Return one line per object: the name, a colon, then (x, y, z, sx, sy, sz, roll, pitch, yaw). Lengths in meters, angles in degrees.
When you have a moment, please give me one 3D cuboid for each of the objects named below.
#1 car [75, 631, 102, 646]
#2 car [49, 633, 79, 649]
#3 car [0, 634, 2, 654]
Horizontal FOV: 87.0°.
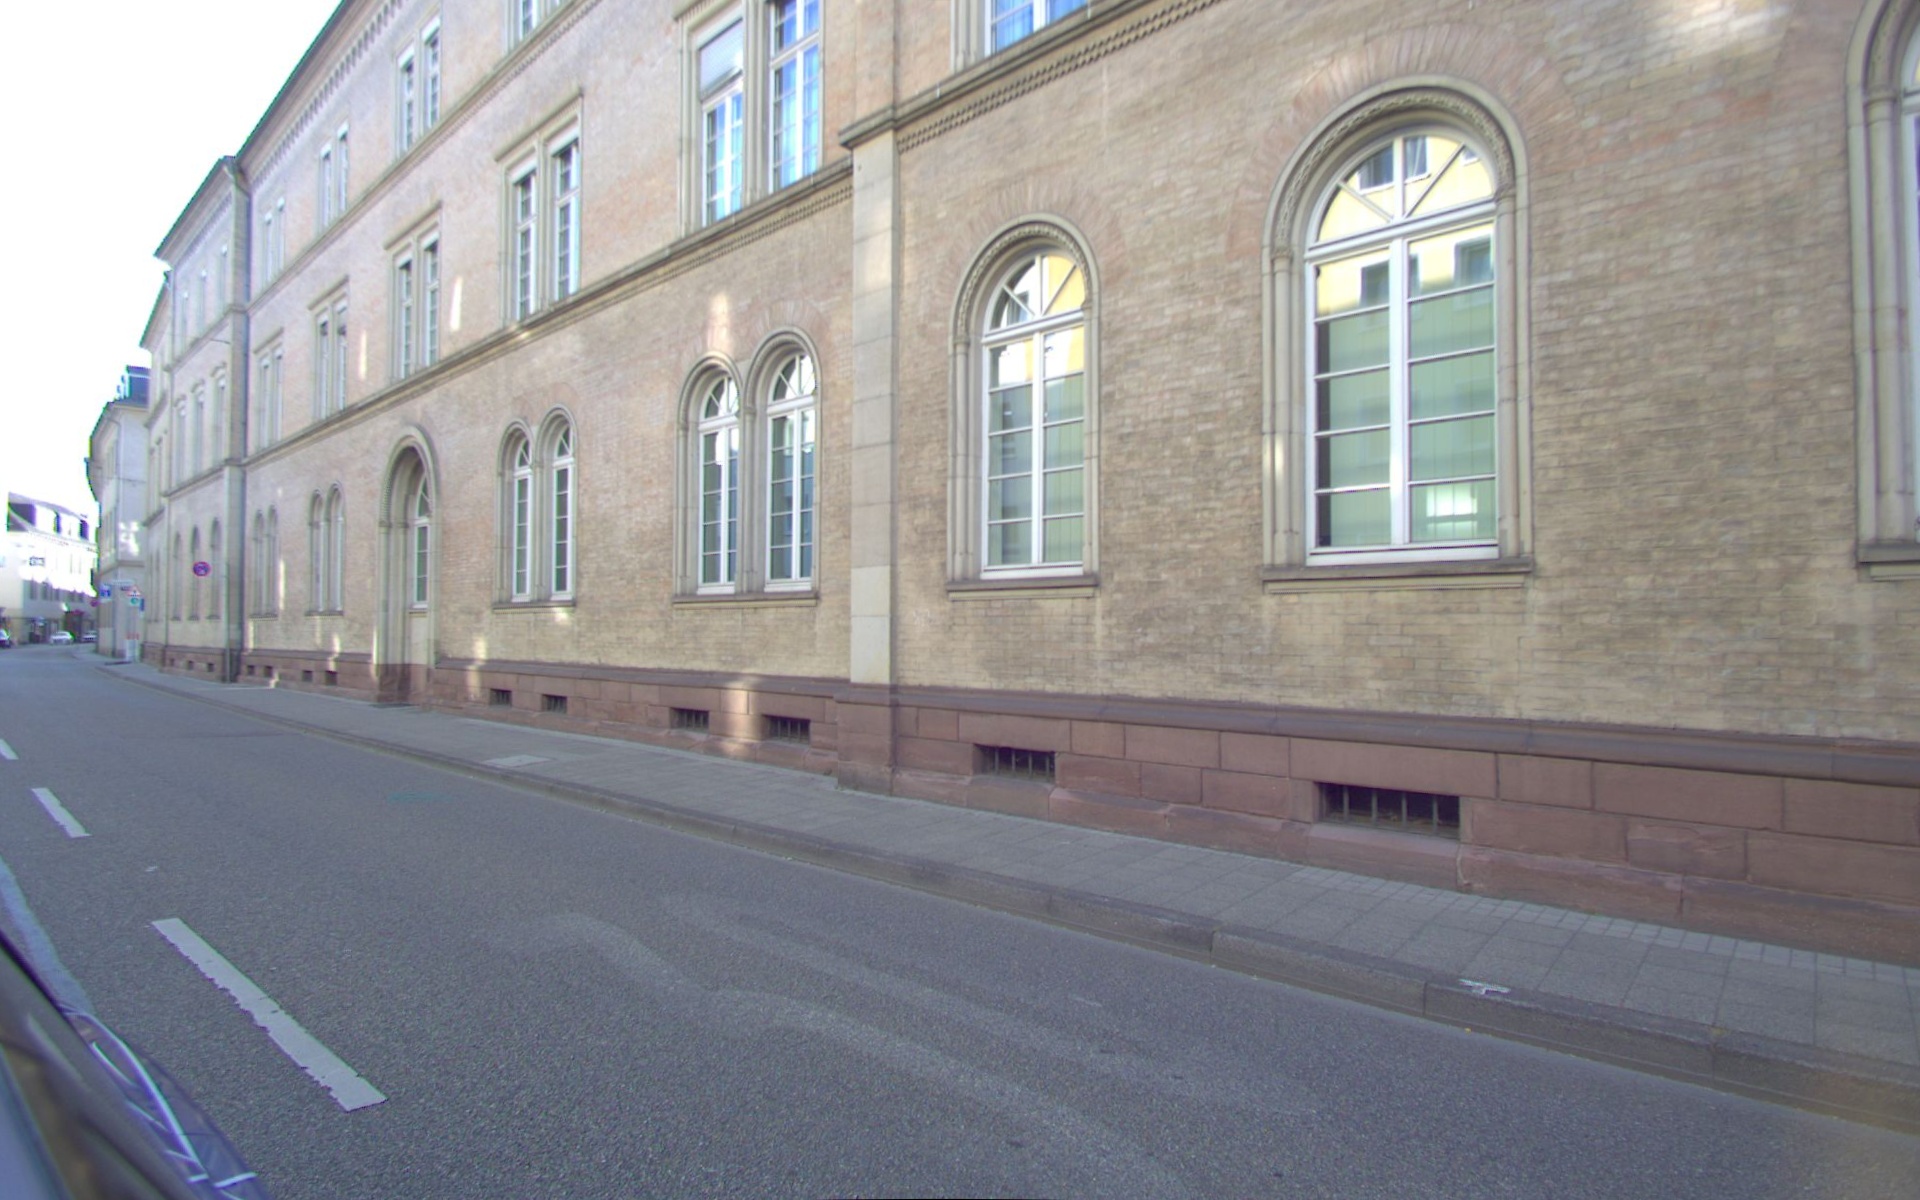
car: (-109.224, 4.816, 126.825, 1.966, 1.665, 4.240, -1, 0, -33)
car: (-102.850, 4.735, 116.173, 1.966, 1.665, 4.240, -1, 0, -33)
car: (-86.608, 3.935, 89.948, 1.969, 1.665, 4.235, -1, 0, -41)
